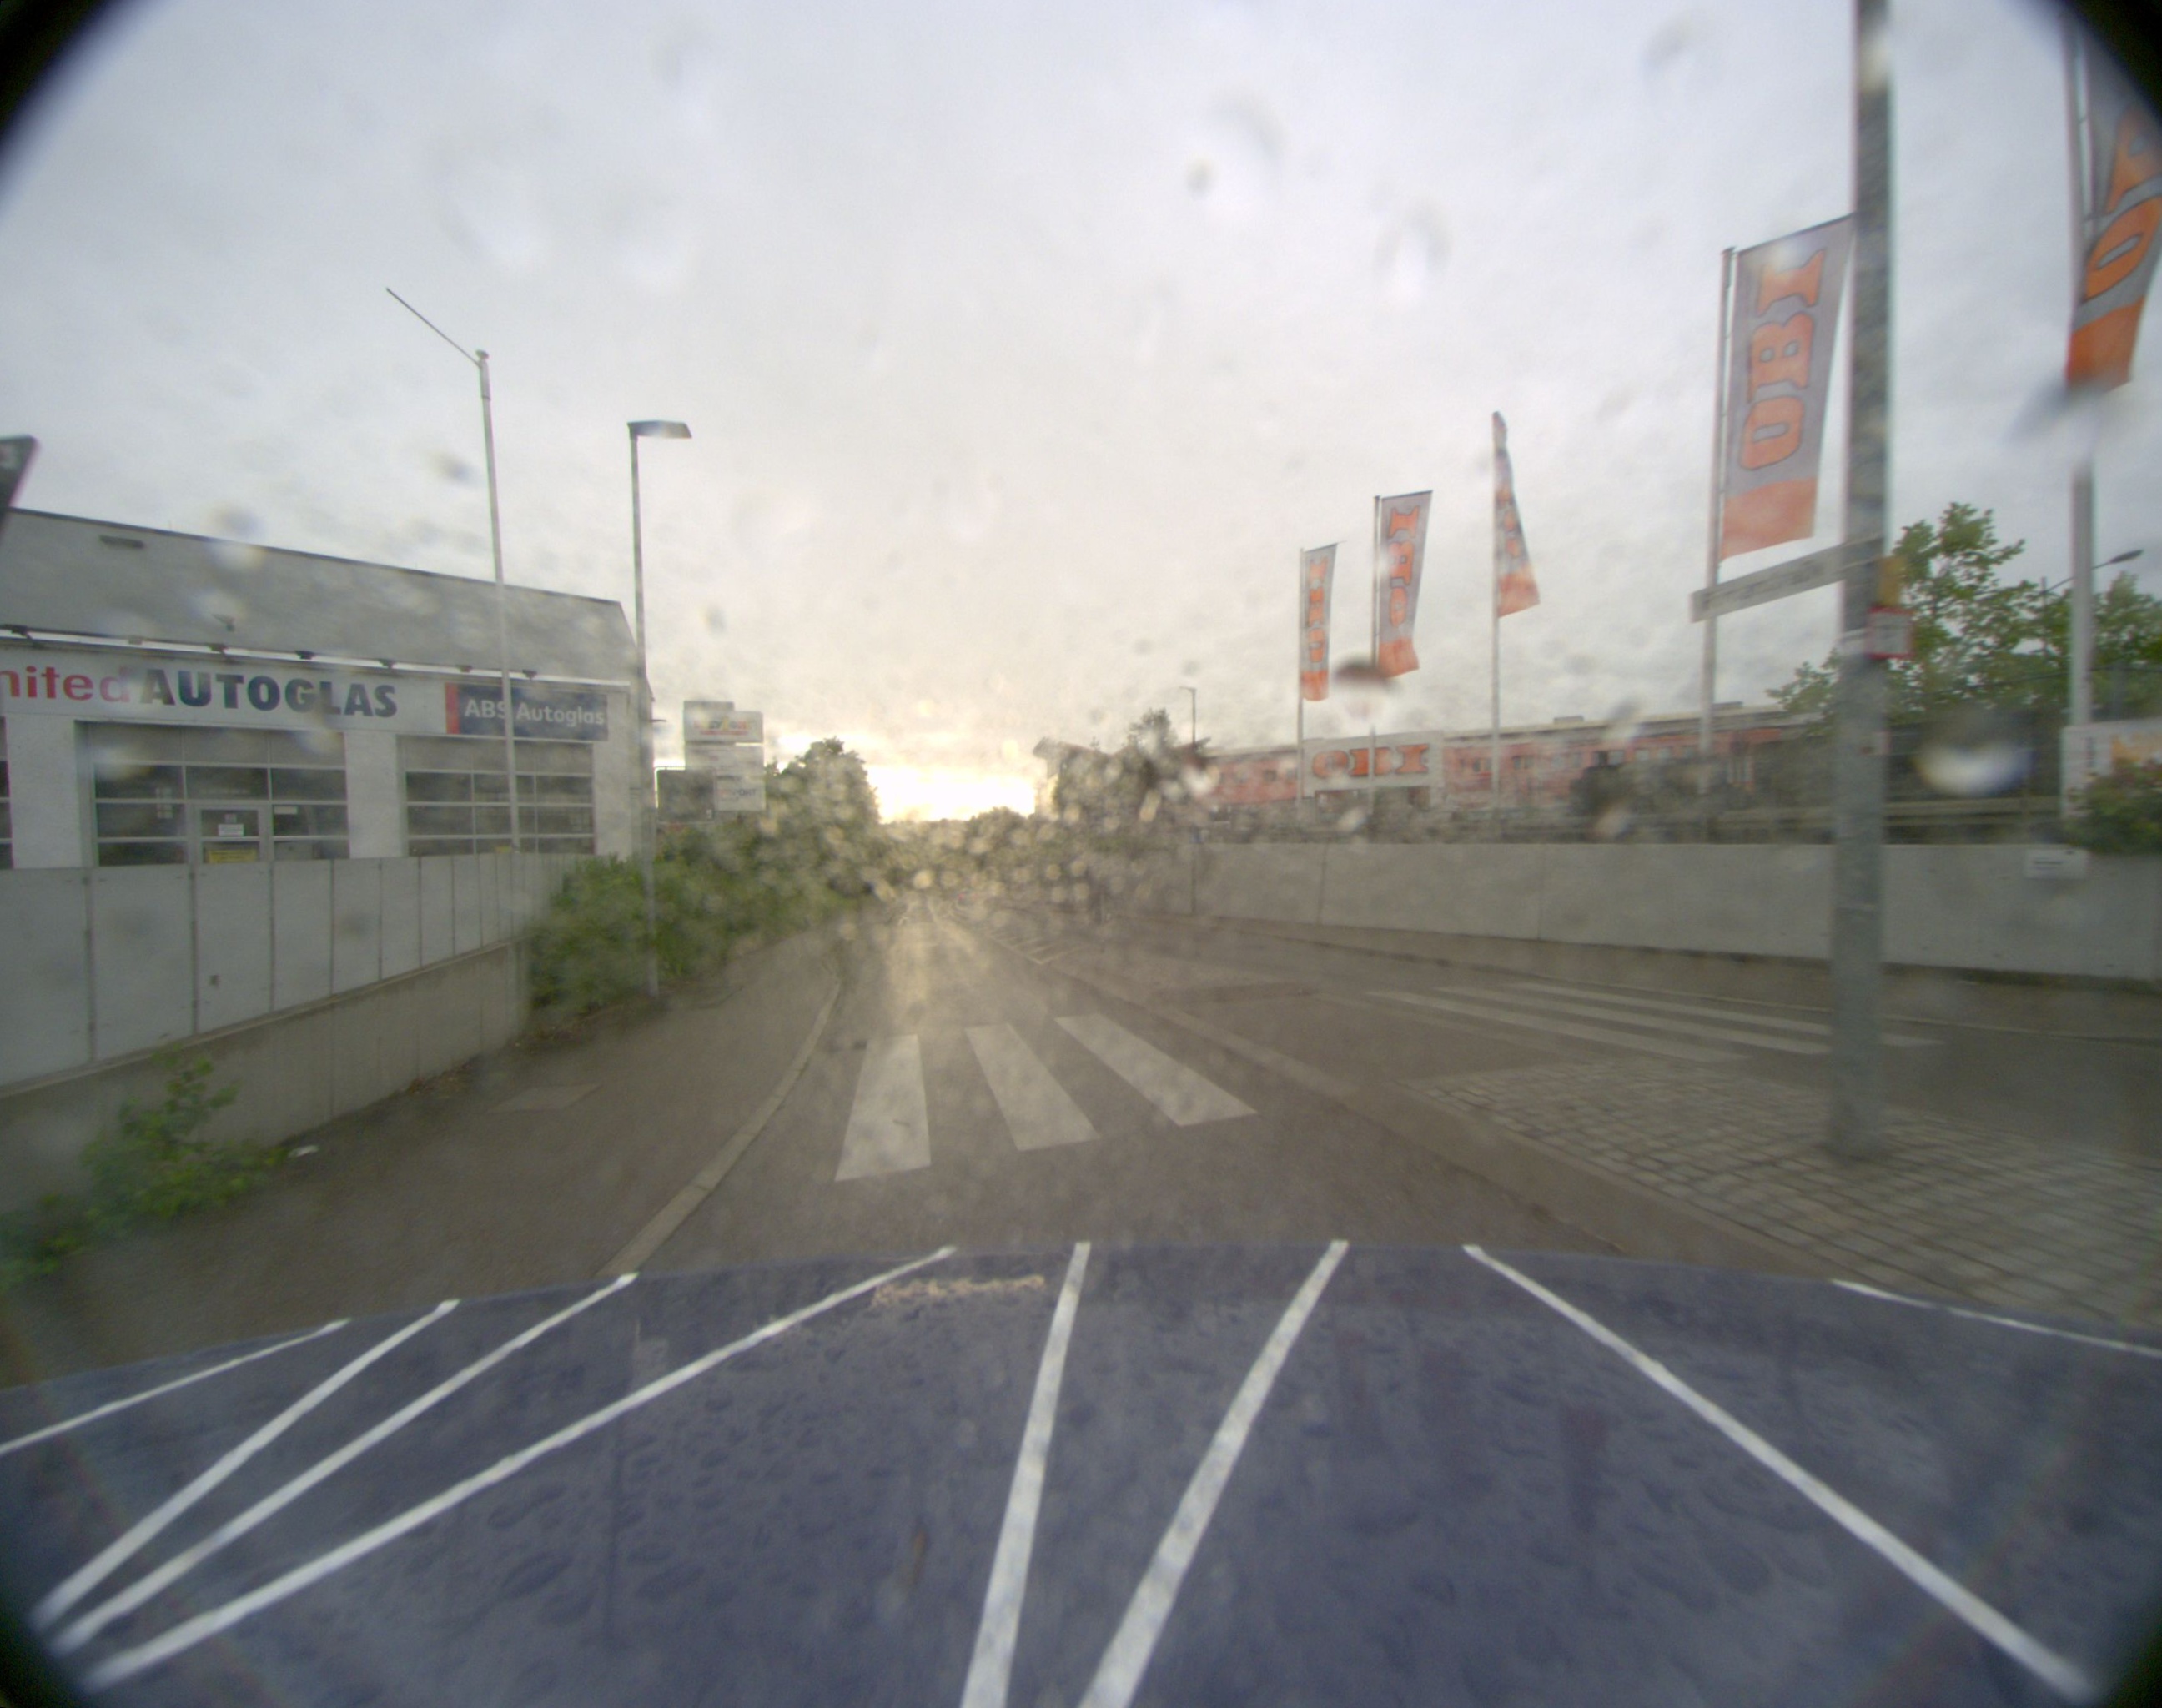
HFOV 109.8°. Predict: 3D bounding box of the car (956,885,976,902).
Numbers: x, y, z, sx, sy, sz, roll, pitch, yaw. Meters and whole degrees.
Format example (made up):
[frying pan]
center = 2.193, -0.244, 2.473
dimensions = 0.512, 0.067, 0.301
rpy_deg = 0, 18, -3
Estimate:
[car]
center = -11.011, 3.783, 72.974
dimensions = 1.810, 1.455, 3.999
rpy_deg = -2, -2, -8
